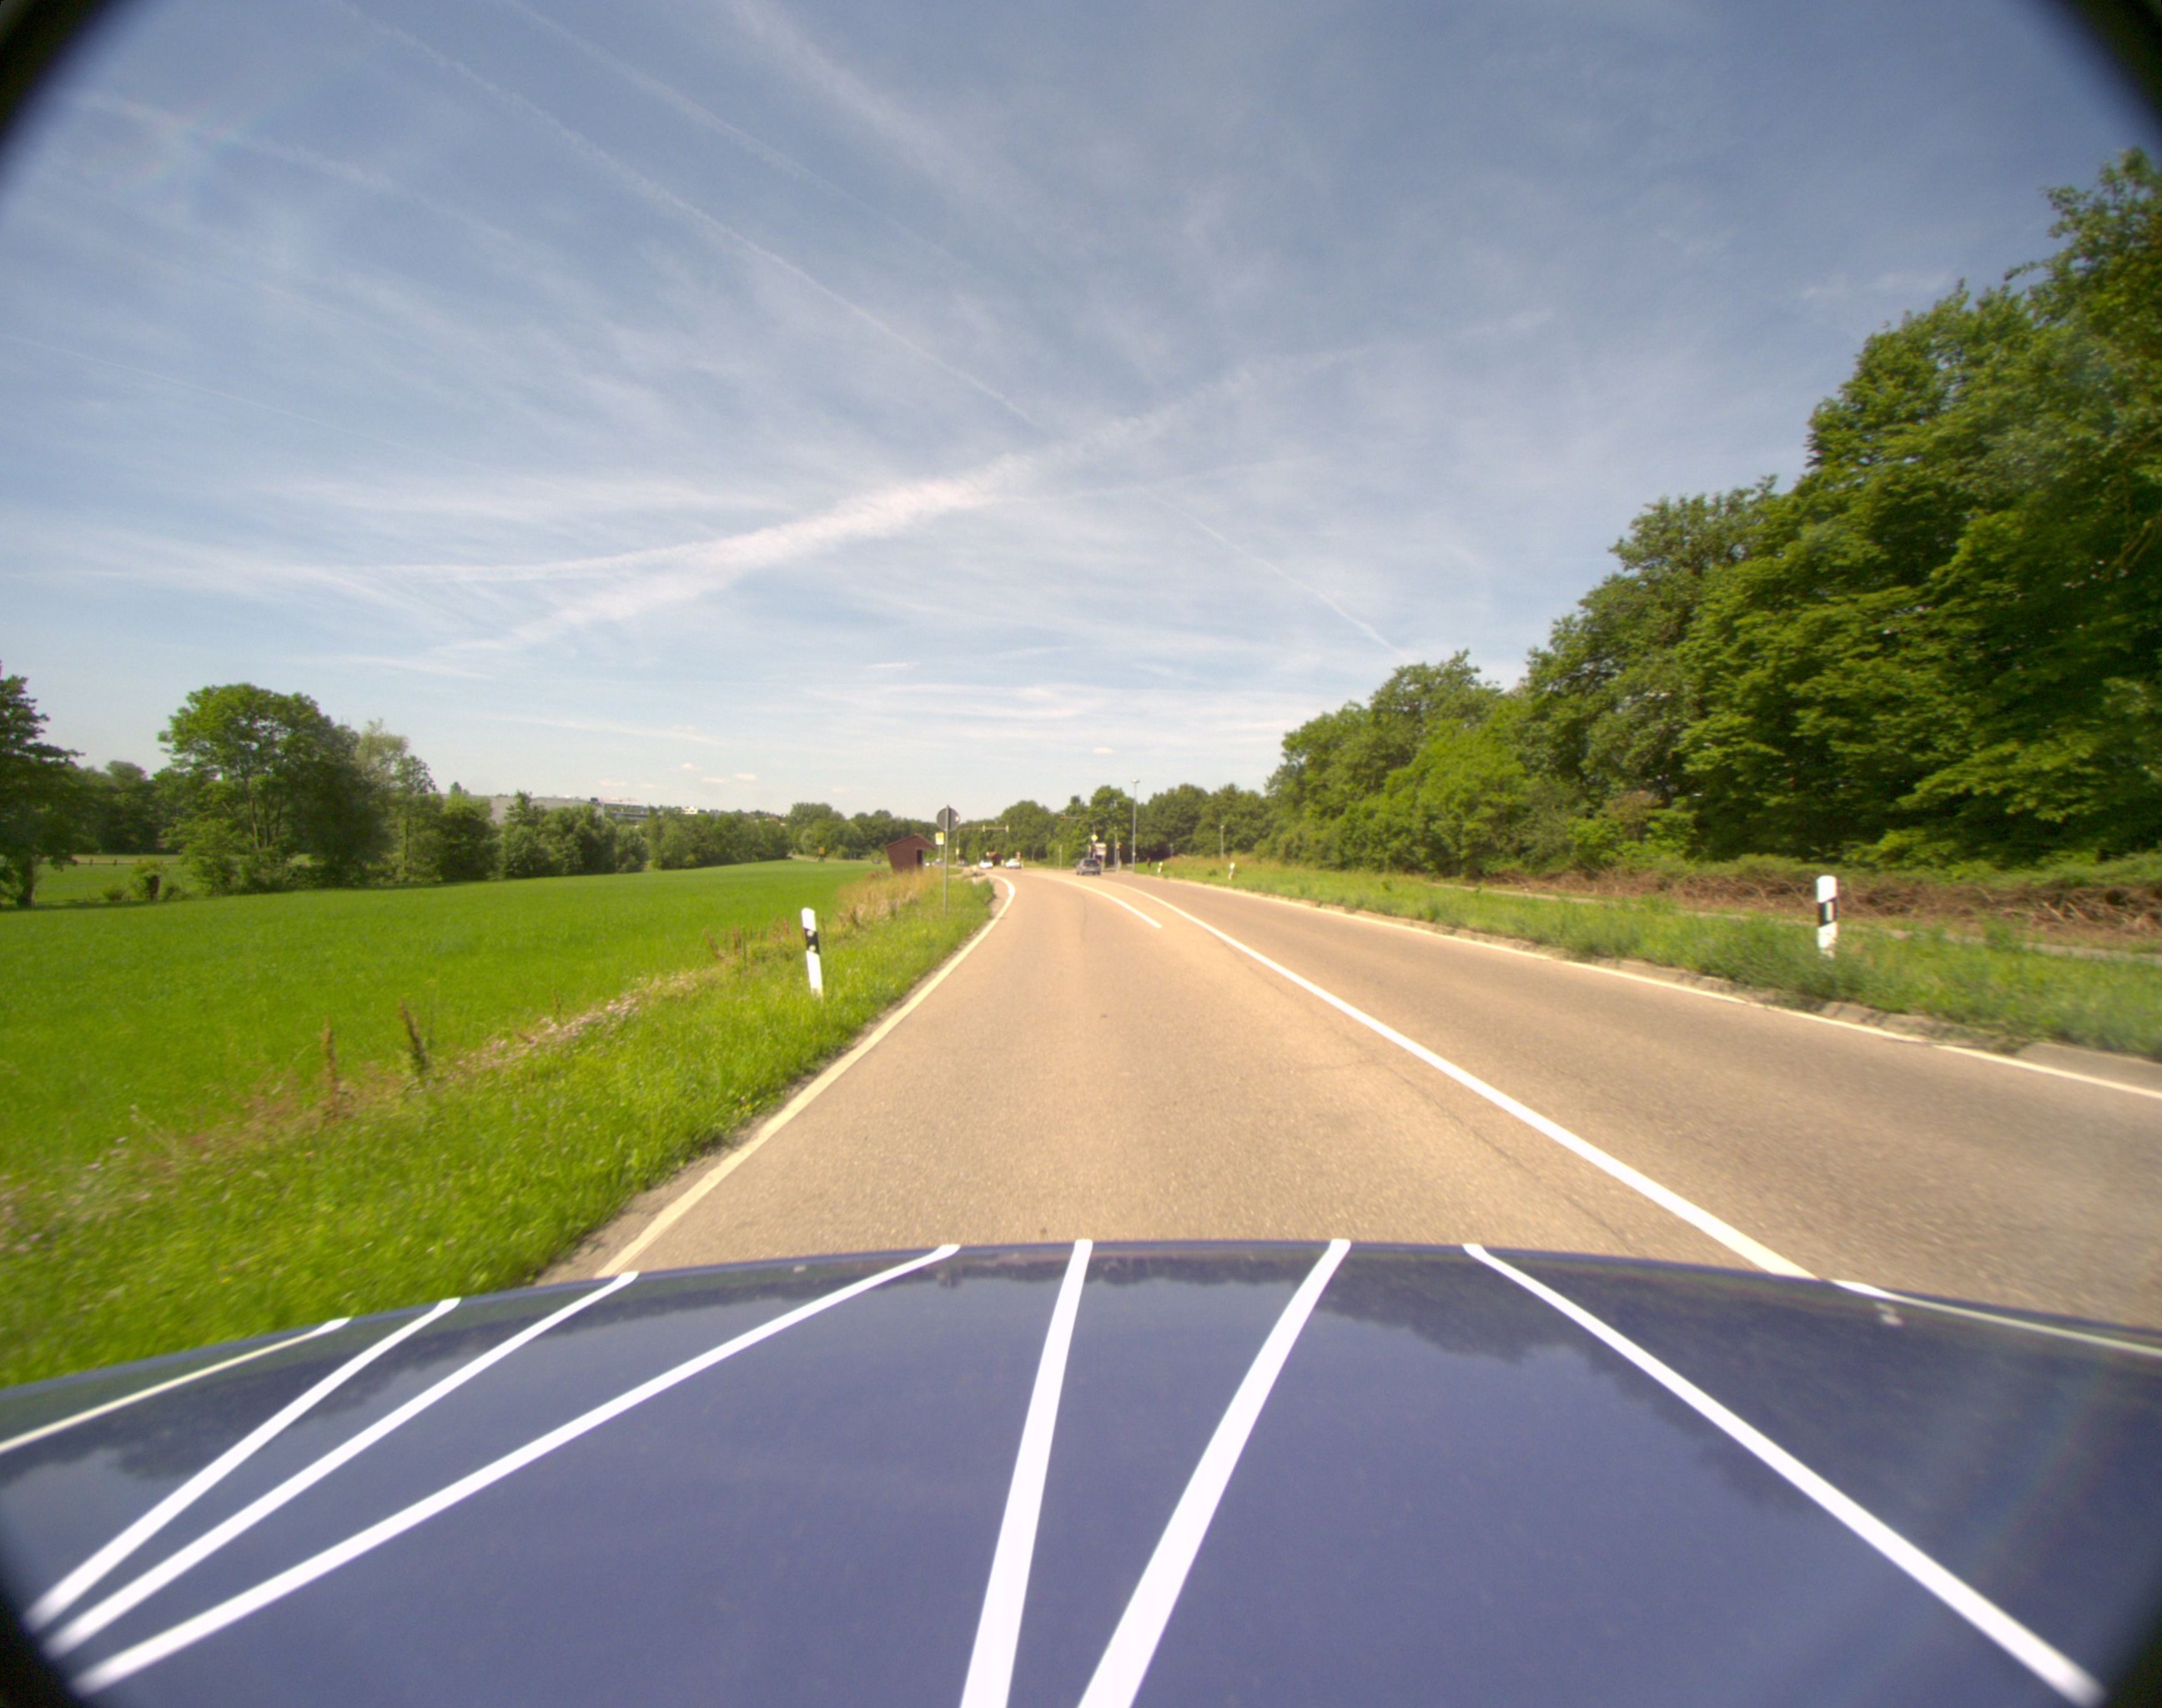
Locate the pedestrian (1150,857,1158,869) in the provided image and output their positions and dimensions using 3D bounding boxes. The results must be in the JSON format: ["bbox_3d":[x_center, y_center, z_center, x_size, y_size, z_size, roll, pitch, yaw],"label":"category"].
[{"bbox_3d":[11.143,1.331,115.767,0.920,1.726,0.900,-2,1,22],"label":"pedestrian"}]

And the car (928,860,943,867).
[{"bbox_3d":[-32.544,2.192,169.847,2.003,1.575,3.991,-2,0,-27],"label":"car"}]

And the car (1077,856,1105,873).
[{"bbox_3d":[0.866,0.962,70.050,1.760,1.525,4.224,-2,0,-10],"label":"car"}]

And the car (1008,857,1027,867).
[{"bbox_3d":[-10.372,1.295,123.745,1.945,1.539,4.620,-2,0,-18],"label":"car"}]

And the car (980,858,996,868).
[{"bbox_3d":[-15.670,1.454,127.840,2.001,1.575,3.994,-2,0,-17],"label":"car"}]

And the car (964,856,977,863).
[{"bbox_3d":[-24.193,1.141,166.098,1.714,1.474,3.825,-2,0,-23],"label":"car"}]

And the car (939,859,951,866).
[{"bbox_3d":[-33.262,2.150,185.798,1.982,1.553,4.182,-2,0,-21],"label":"car"}]
